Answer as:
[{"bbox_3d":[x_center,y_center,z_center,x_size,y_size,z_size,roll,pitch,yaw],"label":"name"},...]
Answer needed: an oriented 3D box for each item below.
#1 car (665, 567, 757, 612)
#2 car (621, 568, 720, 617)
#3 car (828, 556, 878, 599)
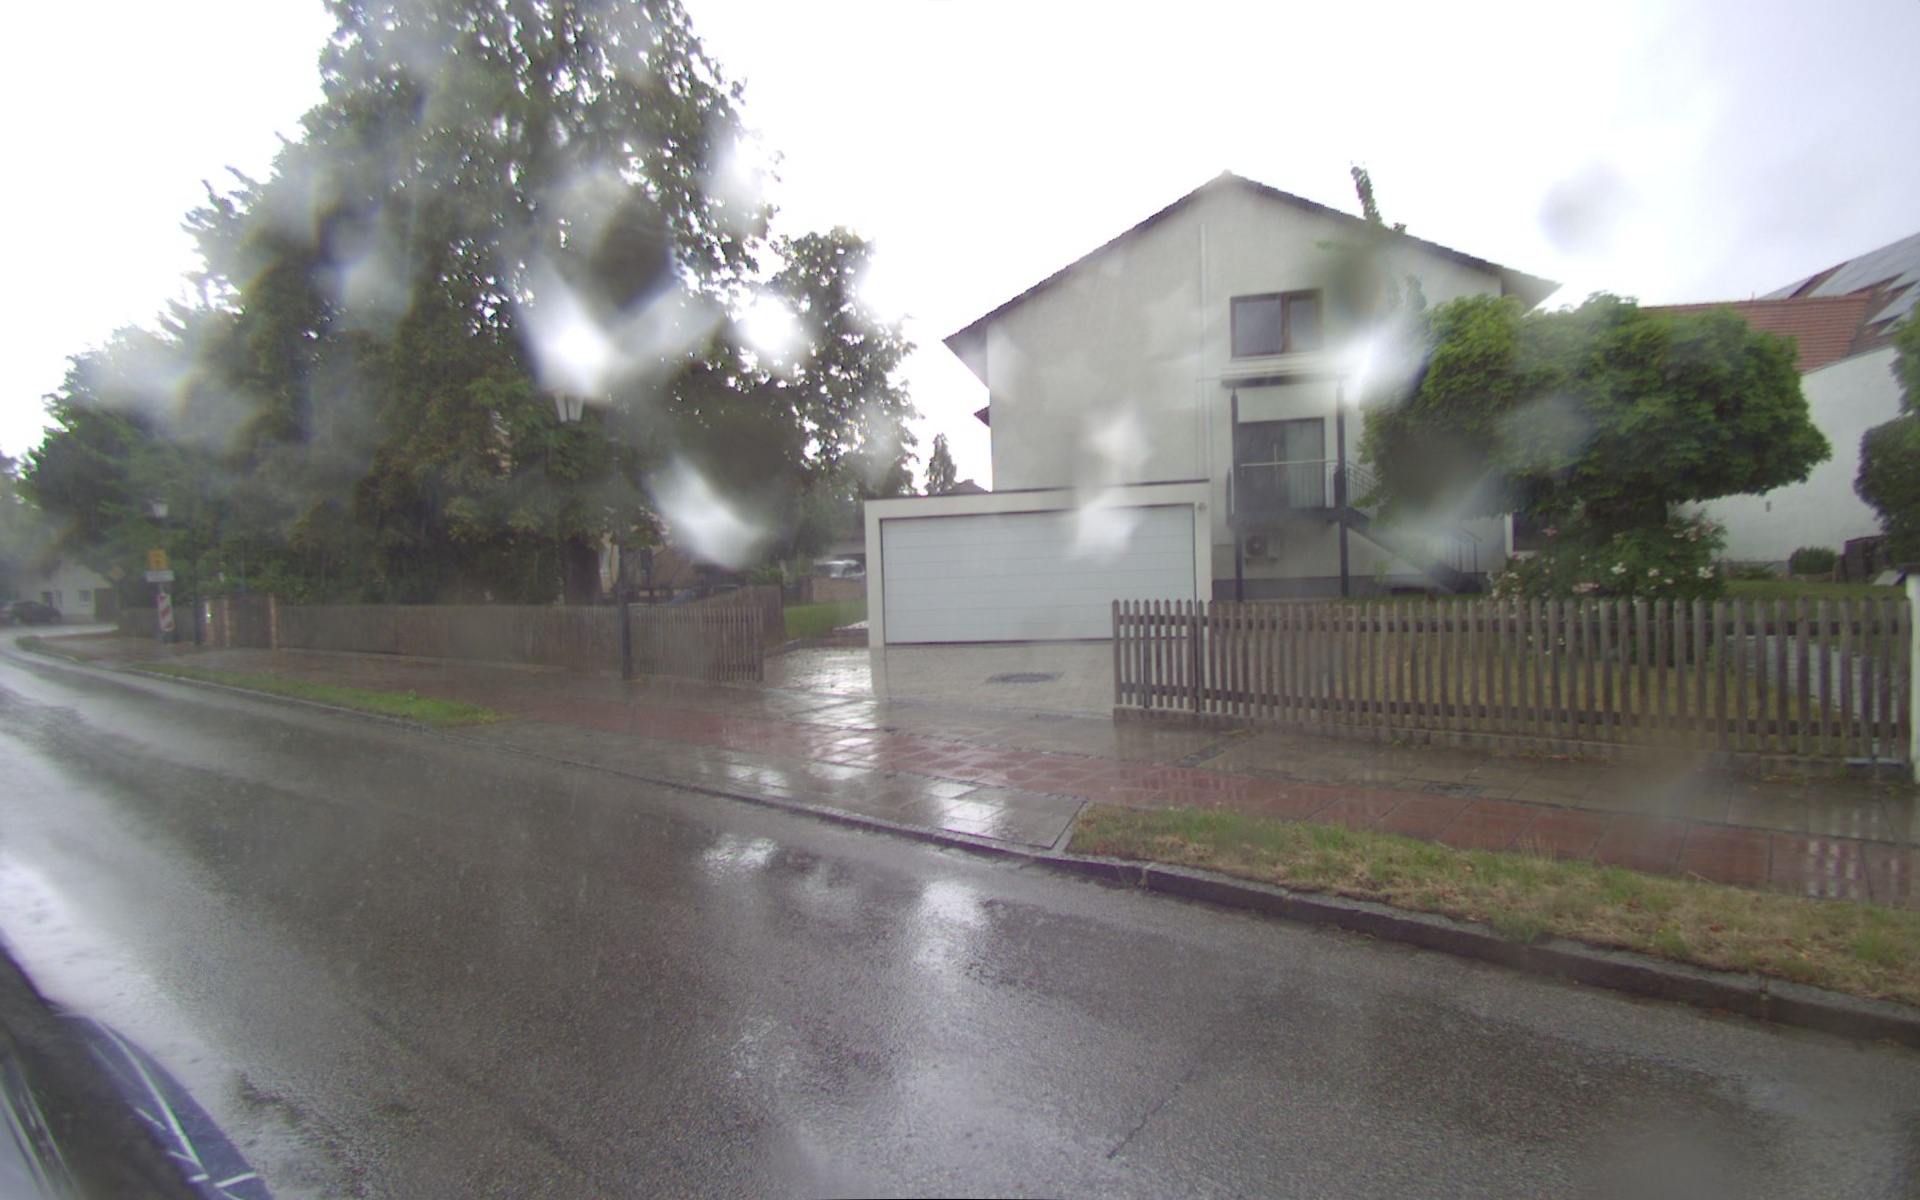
[{"bbox_3d":[-11.487,-0.511,46.861,3.613,1.815,1.839,-3,2,8],"label":"car"},{"bbox_3d":[-12.568,-0.336,44.094,3.613,1.815,1.839,-3,2,8],"label":"car"},{"bbox_3d":[-6.048,-1.259,57.669,1.768,2.311,3.838,-1,0,11],"label":"car"}]
